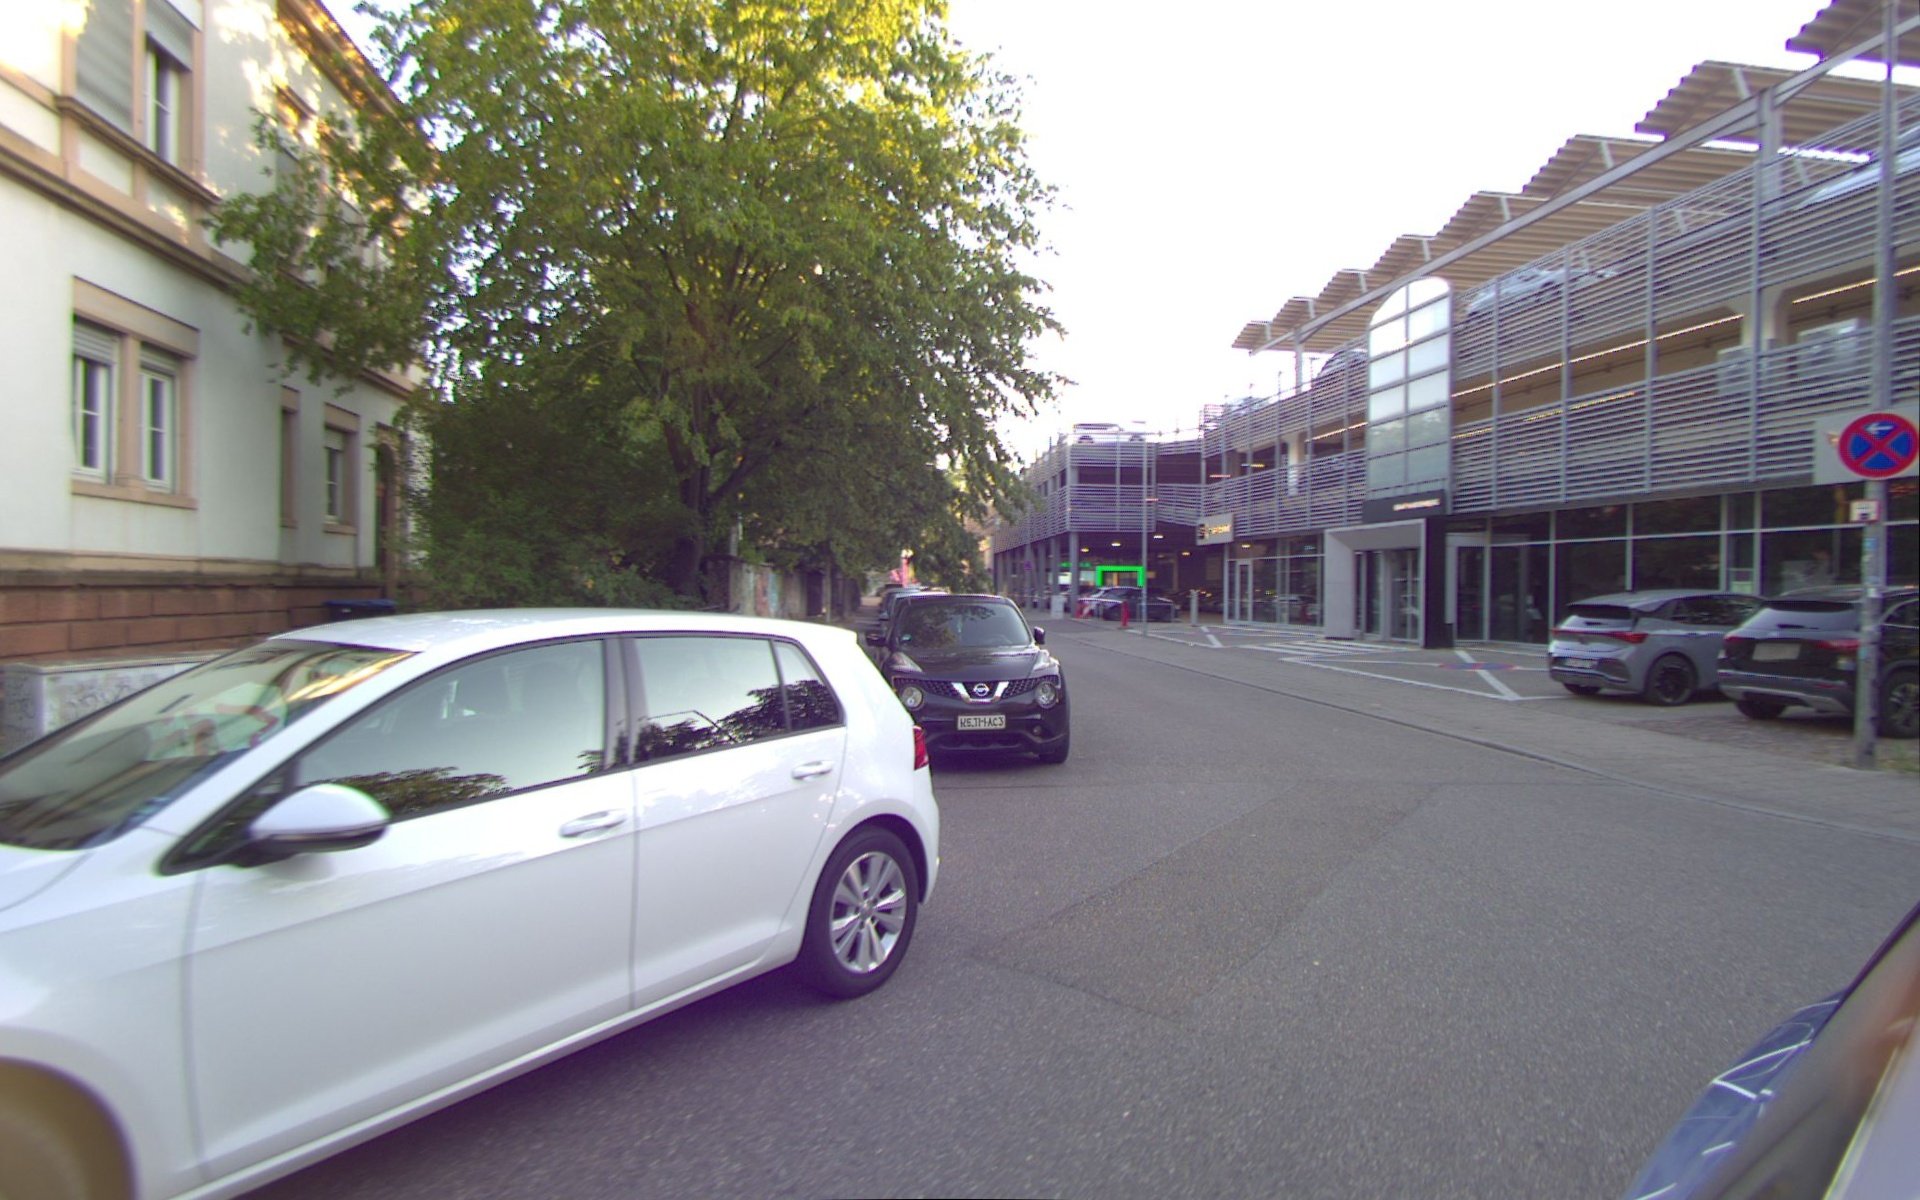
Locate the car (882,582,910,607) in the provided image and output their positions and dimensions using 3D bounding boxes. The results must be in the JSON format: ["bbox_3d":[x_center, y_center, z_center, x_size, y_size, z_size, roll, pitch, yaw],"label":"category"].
[{"bbox_3d":[-3.956,-0.349,62.565,1.601,1.472,3.769,2,1,-3],"label":"car"}]

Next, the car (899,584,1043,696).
[{"bbox_3d":[0.036,0.508,15.333,1.600,1.452,3.790,2,1,-8],"label":"car"}]

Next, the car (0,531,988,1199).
[{"bbox_3d":[-1.822,0.660,3.200,1.801,1.520,4.117,-2,-1,36],"label":"car"}]

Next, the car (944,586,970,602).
[{"bbox_3d":[-0.258,-0.534,88.390,1.838,1.303,3.406,2,1,-7],"label":"car"}]

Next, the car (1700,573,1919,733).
[{"bbox_3d":[10.955,0.520,11.458,4.043,1.626,1.720,-1,0,-7],"label":"car"}]

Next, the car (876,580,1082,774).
[{"bbox_3d":[0.000,0.590,10.249,1.600,1.564,3.948,0,1,-6],"label":"car"}]

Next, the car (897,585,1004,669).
[{"bbox_3d":[-0.281,0.471,19.765,1.600,1.453,3.692,2,0,-8],"label":"car"}]

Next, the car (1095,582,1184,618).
[{"bbox_3d":[8.531,0.006,48.194,3.848,1.587,1.635,2,1,-5],"label":"car"}]

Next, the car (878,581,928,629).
[{"bbox_3d":[-2.090,0.134,36.139,1.600,1.587,4.134,2,1,-5],"label":"car"}]

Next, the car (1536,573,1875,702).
[{"bbox_3d":[10.538,0.491,14.460,3.620,1.611,1.708,-2,0,-5],"label":"car"}]

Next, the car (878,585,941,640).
[{"bbox_3d":[-1.565,0.316,30.009,1.600,1.452,4.134,2,1,-6],"label":"car"}]
